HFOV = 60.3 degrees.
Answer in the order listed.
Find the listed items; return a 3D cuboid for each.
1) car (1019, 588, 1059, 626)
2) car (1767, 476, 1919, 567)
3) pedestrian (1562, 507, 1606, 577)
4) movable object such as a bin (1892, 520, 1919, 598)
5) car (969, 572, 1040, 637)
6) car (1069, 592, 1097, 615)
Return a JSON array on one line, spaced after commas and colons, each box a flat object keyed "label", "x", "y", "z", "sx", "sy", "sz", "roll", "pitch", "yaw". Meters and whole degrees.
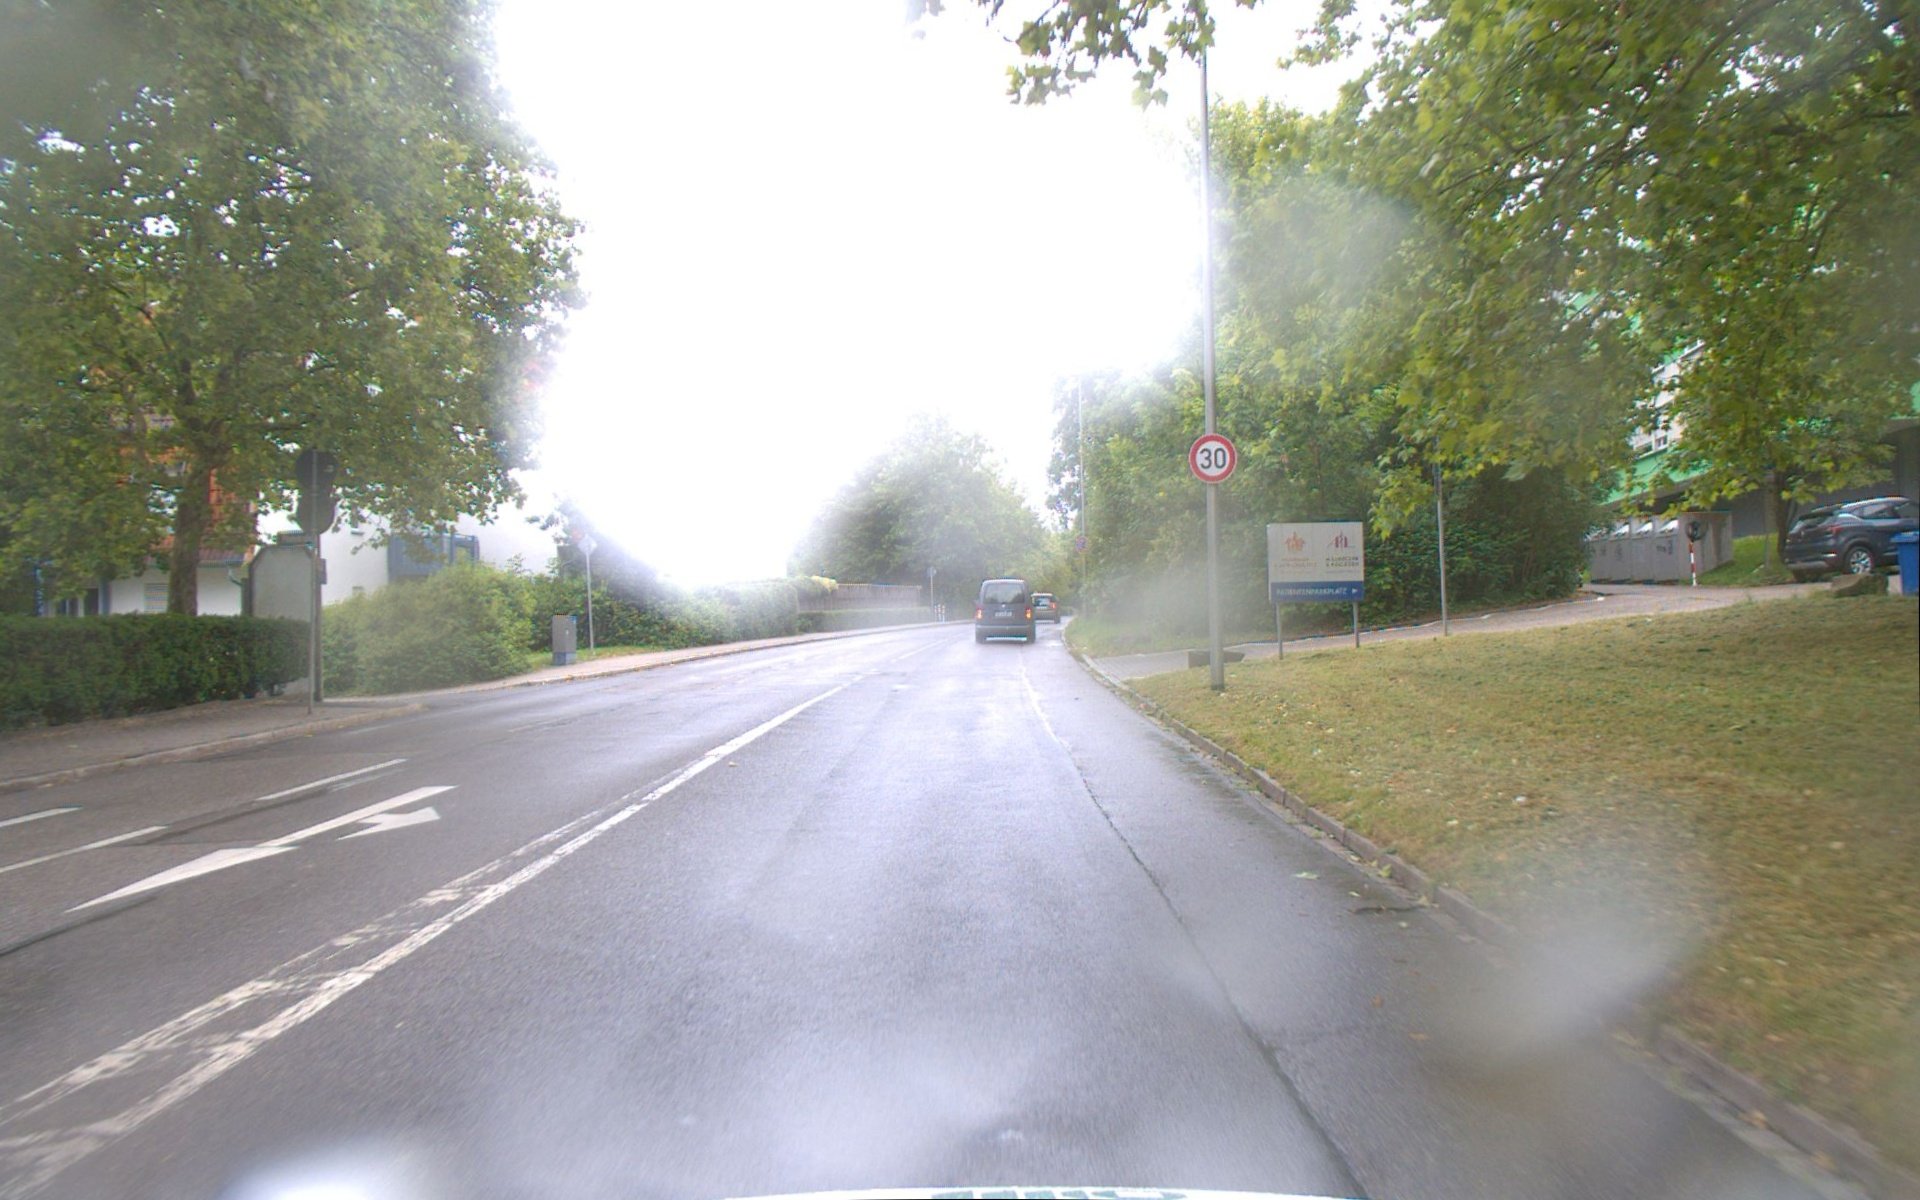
[{"label": "car", "x": 3.998, "y": 0.338, "z": 83.301, "sx": 1.909, "sy": 1.780, "sz": 4.002, "roll": -2, "pitch": 1, "yaw": 4}, {"label": "car", "x": 19.621, "y": -1.678, "z": 35.208, "sx": 3.910, "sy": 1.780, "sz": 1.997, "roll": -2, "pitch": 0, "yaw": -6}, {"label": "pedestrian", "x": 16.088, "y": -1.487, "z": 42.667, "sx": 0.651, "sy": 1.780, "sz": 0.846, "roll": -2, "pitch": 0, "yaw": -17}, {"label": "movable object such as a bin", "x": 14.366, "y": -0.603, "z": 24.558, "sx": 0.655, "sy": 1.140, "sz": 0.662, "roll": 1, "pitch": 0, "yaw": -4}, {"label": "car", "x": 1.291, "y": 0.094, "z": 49.556, "sx": 1.953, "sy": 1.825, "sz": 4.000, "roll": 1, "pitch": 1, "yaw": 0}, {"label": "car", "x": 10.024, "y": 0.259, "z": 134.887, "sx": 1.952, "sy": 1.780, "sz": 4.000, "roll": 1, "pitch": 0, "yaw": 1}]
